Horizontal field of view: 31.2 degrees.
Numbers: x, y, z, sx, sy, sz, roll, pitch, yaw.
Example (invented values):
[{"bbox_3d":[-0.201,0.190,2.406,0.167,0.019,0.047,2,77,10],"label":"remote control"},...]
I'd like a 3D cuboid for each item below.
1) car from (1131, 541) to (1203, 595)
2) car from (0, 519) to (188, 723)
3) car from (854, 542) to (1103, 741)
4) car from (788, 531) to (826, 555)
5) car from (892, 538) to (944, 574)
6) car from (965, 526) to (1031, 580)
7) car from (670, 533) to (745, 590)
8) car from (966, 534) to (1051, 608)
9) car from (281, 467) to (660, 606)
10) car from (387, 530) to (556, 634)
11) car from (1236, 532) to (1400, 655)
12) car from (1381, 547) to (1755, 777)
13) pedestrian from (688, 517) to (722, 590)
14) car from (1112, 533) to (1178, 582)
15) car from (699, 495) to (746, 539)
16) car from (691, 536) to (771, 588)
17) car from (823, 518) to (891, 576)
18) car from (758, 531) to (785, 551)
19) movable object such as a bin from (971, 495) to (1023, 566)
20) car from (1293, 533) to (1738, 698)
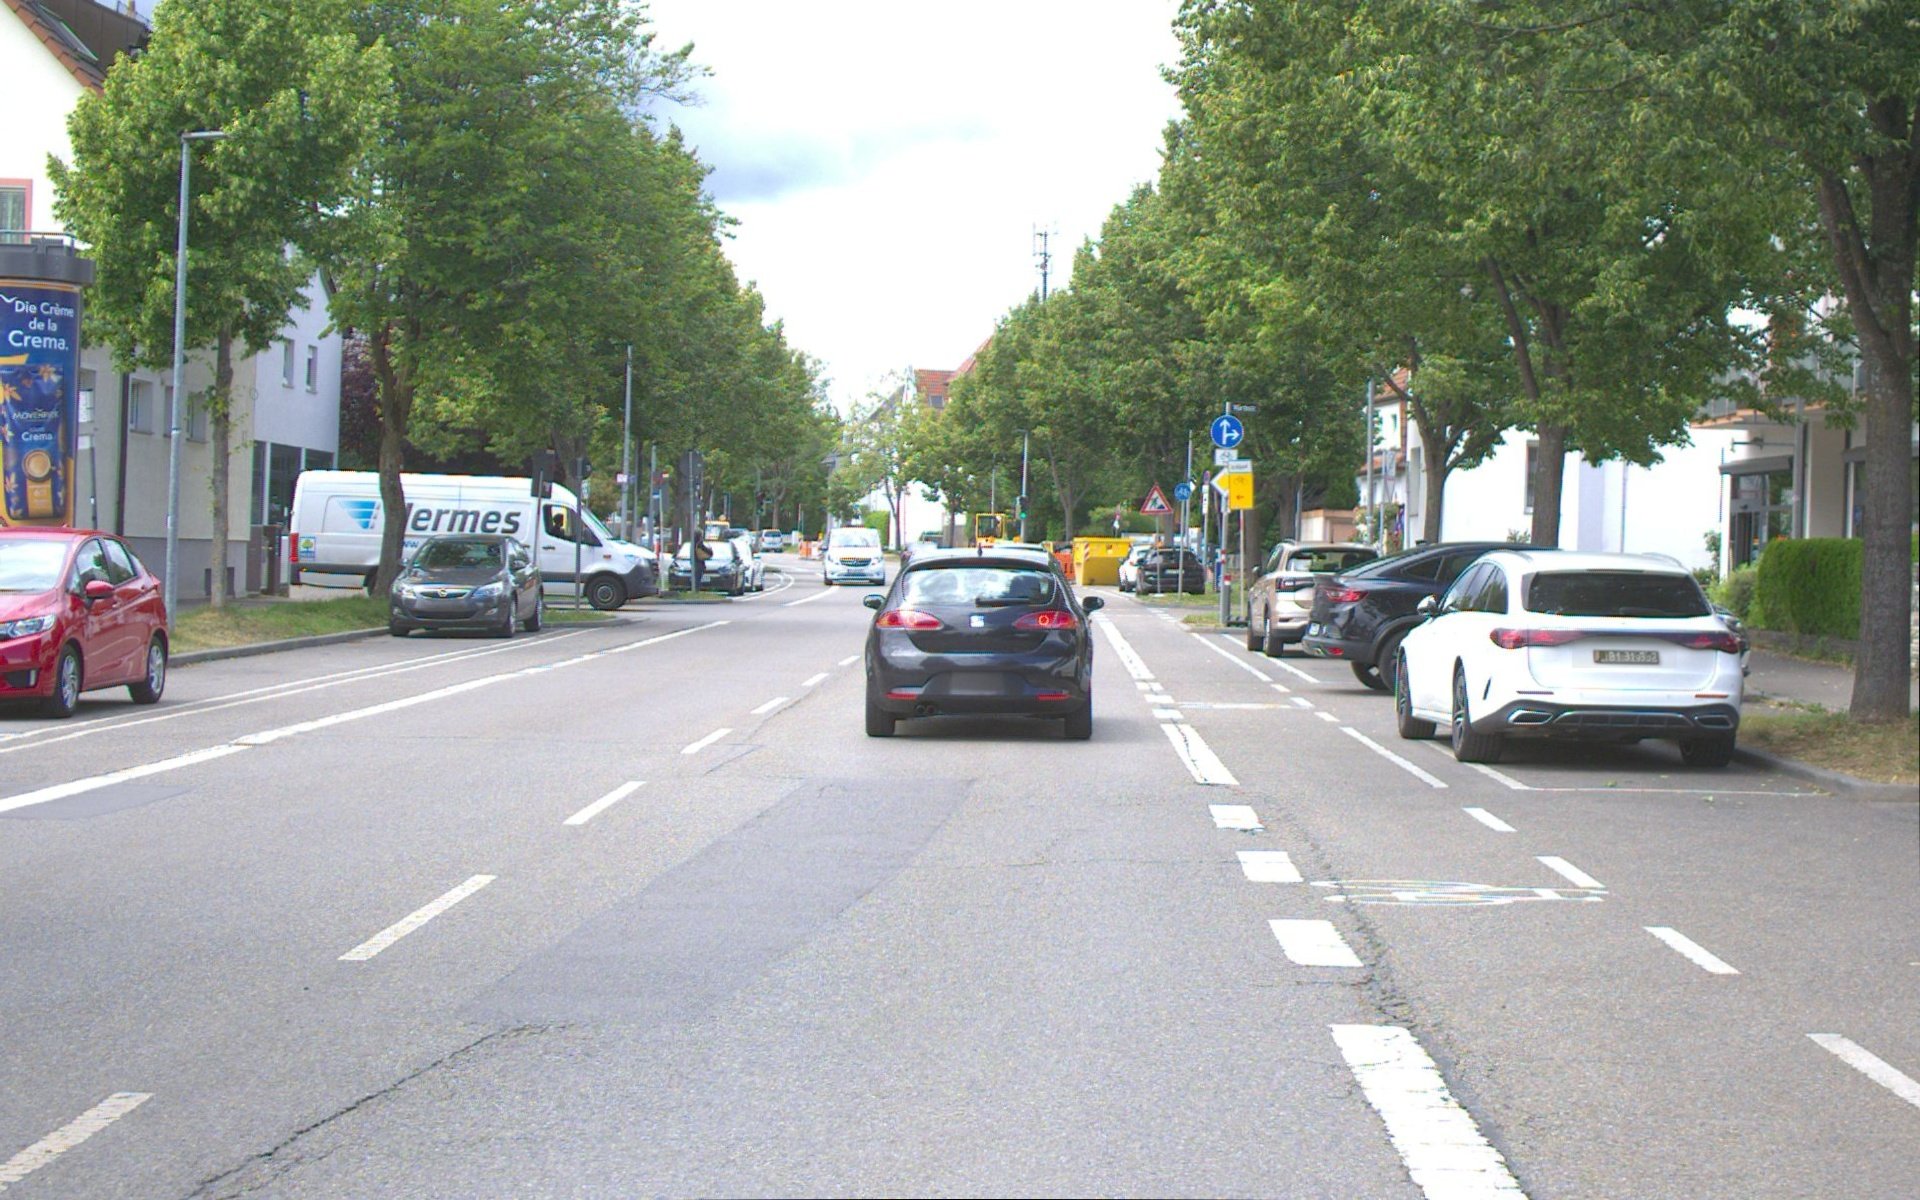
[{"bbox_3d":[5.767,-0.920,96.222,1.705,1.449,4.617,1,1,0],"label":"car"},{"bbox_3d":[-7.806,0.109,28.427,1.685,1.536,4.132,2,1,3],"label":"car"},{"bbox_3d":[0.098,0.277,27.231,1.819,1.433,3.740,1,1,-1],"label":"car"},{"bbox_3d":[-9.341,-3.507,209.998,1.809,1.410,3.694,1,1,-10],"label":"car"},{"bbox_3d":[-1.647,-1.731,134.317,1.809,1.370,3.694,1,1,-4],"label":"car"},{"bbox_3d":[1.148,-1.447,104.970,1.790,1.617,3.740,1,1,-3],"label":"car"},{"bbox_3d":[-6.503,-1.008,88.791,1.643,1.415,4.020,1,1,0],"label":"car"},{"bbox_3d":[1.168,-0.708,81.225,1.906,1.680,3.740,1,1,2],"label":"car"},{"bbox_3d":[-9.750,-1.277,68.907,7.288,2.585,2.220,1,1,-2],"label":"car"},{"bbox_3d":[-7.192,-0.301,50.993,1.731,1.464,4.301,1,1,2],"label":"car"},{"bbox_3d":[4.849,-0.121,47.033,1.722,1.575,4.061,1,1,-1],"label":"car"},{"bbox_3d":[4.306,0.373,25.075,1.805,1.470,4.812,1,1,0],"label":"car"},{"bbox_3d":[-5.973,-1.096,80.521,0.542,1.675,0.750,3,2,9],"label":"pedestrian"},{"bbox_3d":[5.696,-1.319,105.991,1.672,1.457,4.000,1,1,-2],"label":"car"},{"bbox_3d":[-12.283,-4.294,177.752,2.092,2.167,5.046,1,1,-7],"label":"car"},{"bbox_3d":[-6.336,-1.065,95.435,1.714,1.401,4.300,1,1,3],"label":"car"},{"bbox_3d":[-3.342,-1.734,112.275,1.966,1.824,4.819,1,1,1],"label":"car"},{"bbox_3d":[-13.799,-4.318,251.511,1.809,1.410,3.694,1,1,-4],"label":"car"},{"bbox_3d":[1.370,-2.590,128.464,1.768,2.565,3.740,1,1,-1],"label":"movable object such as a bin"},{"bbox_3d":[5.646,0.145,35.241,4.216,1.632,1.693,0,1,-4],"label":"car"}]
